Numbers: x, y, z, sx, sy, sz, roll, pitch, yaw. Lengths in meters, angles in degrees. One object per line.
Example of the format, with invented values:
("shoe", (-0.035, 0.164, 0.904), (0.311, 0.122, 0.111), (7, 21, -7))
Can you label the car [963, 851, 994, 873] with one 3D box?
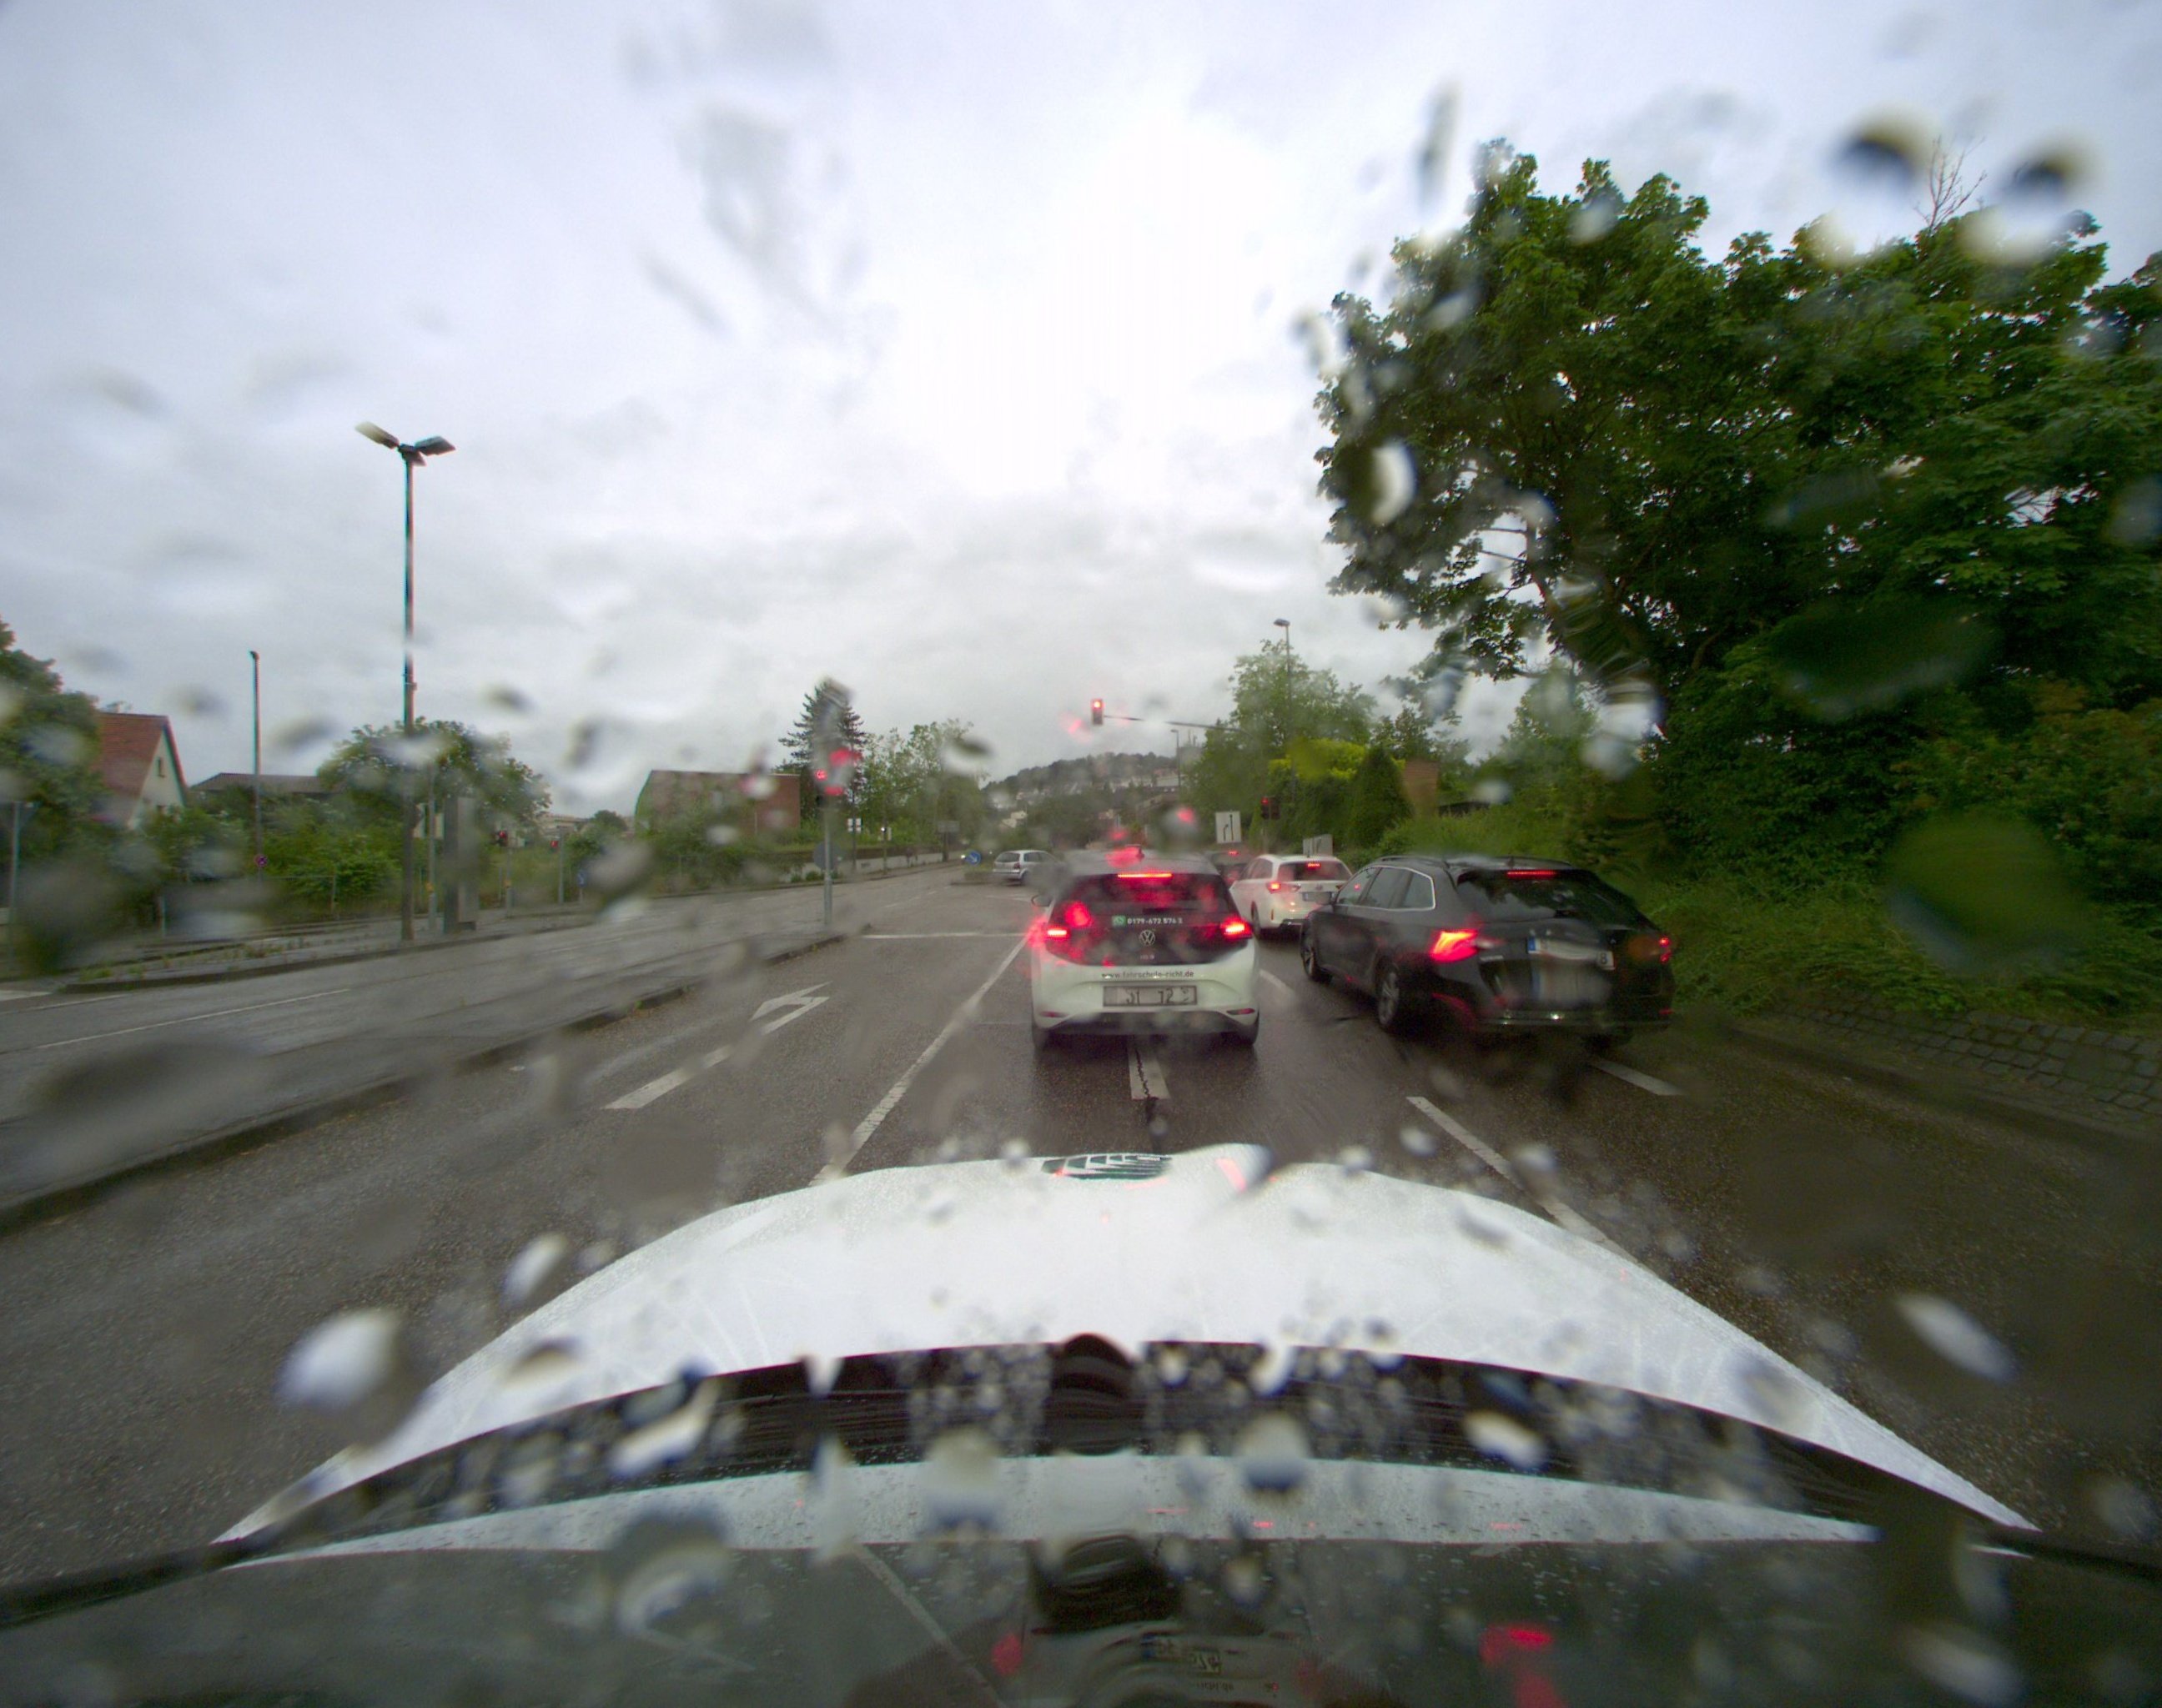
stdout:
("car", (-9.085, 0.670, 72.191), (1.986, 1.804, 4.002), (-4, 0, 2))

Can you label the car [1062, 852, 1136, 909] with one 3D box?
("car", (0.486, 0.654, 22.074), (1.831, 1.400, 3.832), (0, 0, 1))

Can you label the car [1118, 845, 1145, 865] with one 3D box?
("car", (3.831, 0.067, 62.246), (1.755, 1.418, 3.748), (-3, 0, 0))

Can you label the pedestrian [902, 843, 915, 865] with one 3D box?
("pedestrian", (-13.252, -0.001, 62.575), (0.757, 1.568, 0.825), (-4, 0, 1))

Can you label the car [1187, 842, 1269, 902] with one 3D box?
("car", (4.135, 0.488, 23.441), (1.769, 1.581, 4.002), (0, 0, 2))

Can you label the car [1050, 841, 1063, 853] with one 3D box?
("car", (-4.150, -1.239, 140.591), (1.986, 2.014, 4.002), (-1, -1, 2))

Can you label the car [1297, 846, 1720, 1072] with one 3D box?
("car", (3.361, 0.671, 7.499), (1.830, 1.466, 4.353), (0, 0, 3))

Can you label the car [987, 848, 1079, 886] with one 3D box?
("car", (-1.996, 0.537, 34.943), (1.565, 1.467, 4.026), (-3, -1, 38))

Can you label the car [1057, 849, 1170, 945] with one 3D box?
("car", (0.568, 0.682, 15.271), (1.831, 1.555, 4.176), (0, 0, 1))

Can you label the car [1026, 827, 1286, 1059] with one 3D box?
("car", (0.579, 0.609, 8.040), (1.831, 1.629, 4.617), (0, 0, 1))

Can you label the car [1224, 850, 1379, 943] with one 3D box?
("car", (3.855, 0.666, 14.976), (1.831, 1.466, 4.118), (0, 0, 1))

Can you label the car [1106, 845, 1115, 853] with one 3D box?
("car", (6.077, -1.010, 168.896), (1.769, 1.581, 4.002), (-3, 0, 2))
